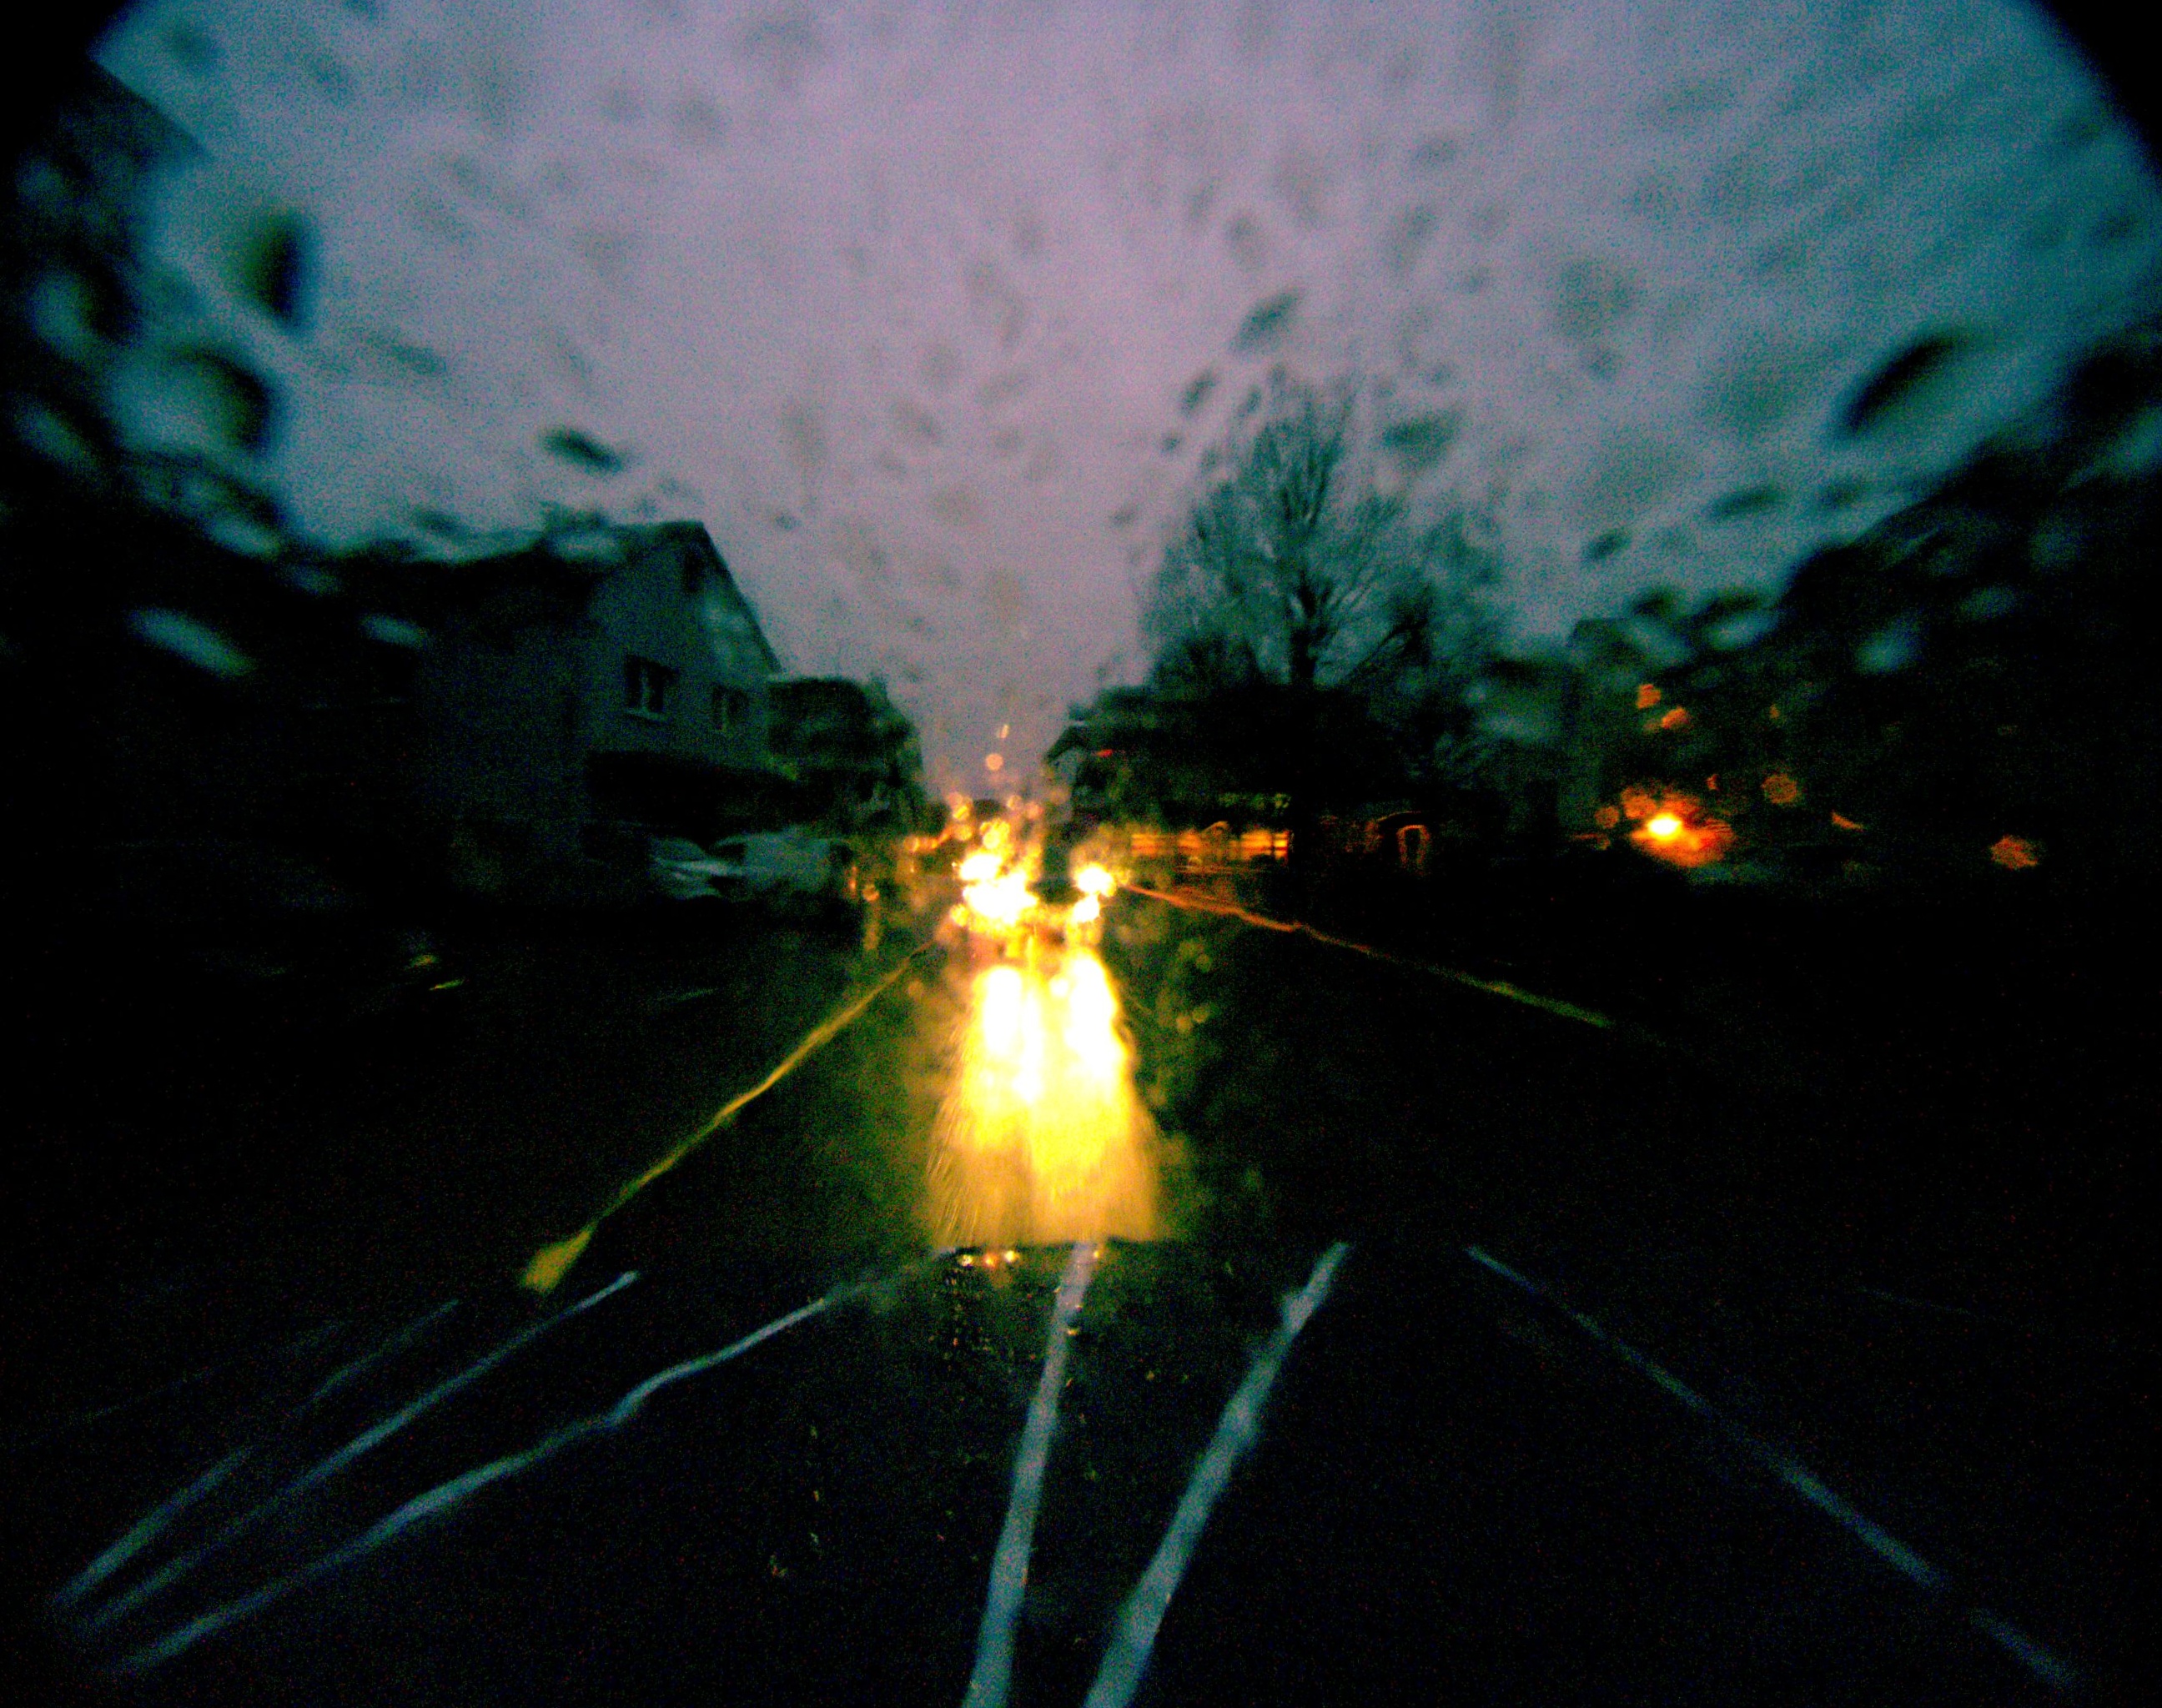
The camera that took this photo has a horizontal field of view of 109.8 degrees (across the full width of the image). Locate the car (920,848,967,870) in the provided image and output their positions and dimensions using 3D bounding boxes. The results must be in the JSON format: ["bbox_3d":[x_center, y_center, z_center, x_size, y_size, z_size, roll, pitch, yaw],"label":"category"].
[{"bbox_3d":[-11.859,0.412,65.306,3.892,1.866,1.867,0,0,-14],"label":"car"}]

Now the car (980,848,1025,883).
[{"bbox_3d":[-3.933,0.544,37.592,1.925,1.608,3.864,-2,0,-10],"label":"car"}]

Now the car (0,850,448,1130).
[{"bbox_3d":[-6.067,0.740,4.947,2.769,1.465,1.427,1,1,4],"label":"car"}]

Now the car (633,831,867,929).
[{"bbox_3d":[-6.777,0.503,15.898,4.052,1.833,1.863,2,1,-1],"label":"car"}]

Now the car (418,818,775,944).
[{"bbox_3d":[-8.215,0.420,13.168,4.991,1.878,1.937,2,0,4],"label":"car"}]

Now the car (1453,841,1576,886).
[{"bbox_3d":[16.550,0.337,29.206,3.989,1.623,1.637,0,1,27],"label":"car"}]

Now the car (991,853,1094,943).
[{"bbox_3d":[-0.813,0.760,15.009,1.732,1.475,3.602,-2,1,-5],"label":"car"}]

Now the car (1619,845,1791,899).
[{"bbox_3d":[15.152,0.435,18.649,3.047,1.213,1.613,-1,1,31],"label":"car"}]

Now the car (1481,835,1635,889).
[{"bbox_3d":[15.282,0.247,24.562,3.990,1.623,1.637,0,1,22],"label":"car"}]

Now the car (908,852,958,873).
[{"bbox_3d":[-11.673,0.682,59.822,3.856,1.618,1.610,1,0,-13],"label":"car"}]

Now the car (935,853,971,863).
[{"bbox_3d":[-14.077,0.451,83.505,3.891,1.121,1.550,0,0,-9],"label":"car"}]

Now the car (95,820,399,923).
[{"bbox_3d":[-15.517,0.274,14.248,3.994,1.613,1.882,3,1,8],"label":"car"}]

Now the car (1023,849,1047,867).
[{"bbox_3d":[-4.396,0.364,71.919,1.901,1.607,3.824,-2,0,-8],"label":"car"}]

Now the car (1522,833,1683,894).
[{"bbox_3d":[14.632,0.280,21.556,3.625,1.603,1.613,-1,1,31],"label":"car"}]

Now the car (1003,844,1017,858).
[{"bbox_3d":[-10.664,-0.488,113.959,1.838,2.002,3.696,-2,1,-10],"label":"car"}]

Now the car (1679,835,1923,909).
[{"bbox_3d":[14.928,0.357,16.024,3.476,1.401,1.613,-1,1,33],"label":"car"}]
